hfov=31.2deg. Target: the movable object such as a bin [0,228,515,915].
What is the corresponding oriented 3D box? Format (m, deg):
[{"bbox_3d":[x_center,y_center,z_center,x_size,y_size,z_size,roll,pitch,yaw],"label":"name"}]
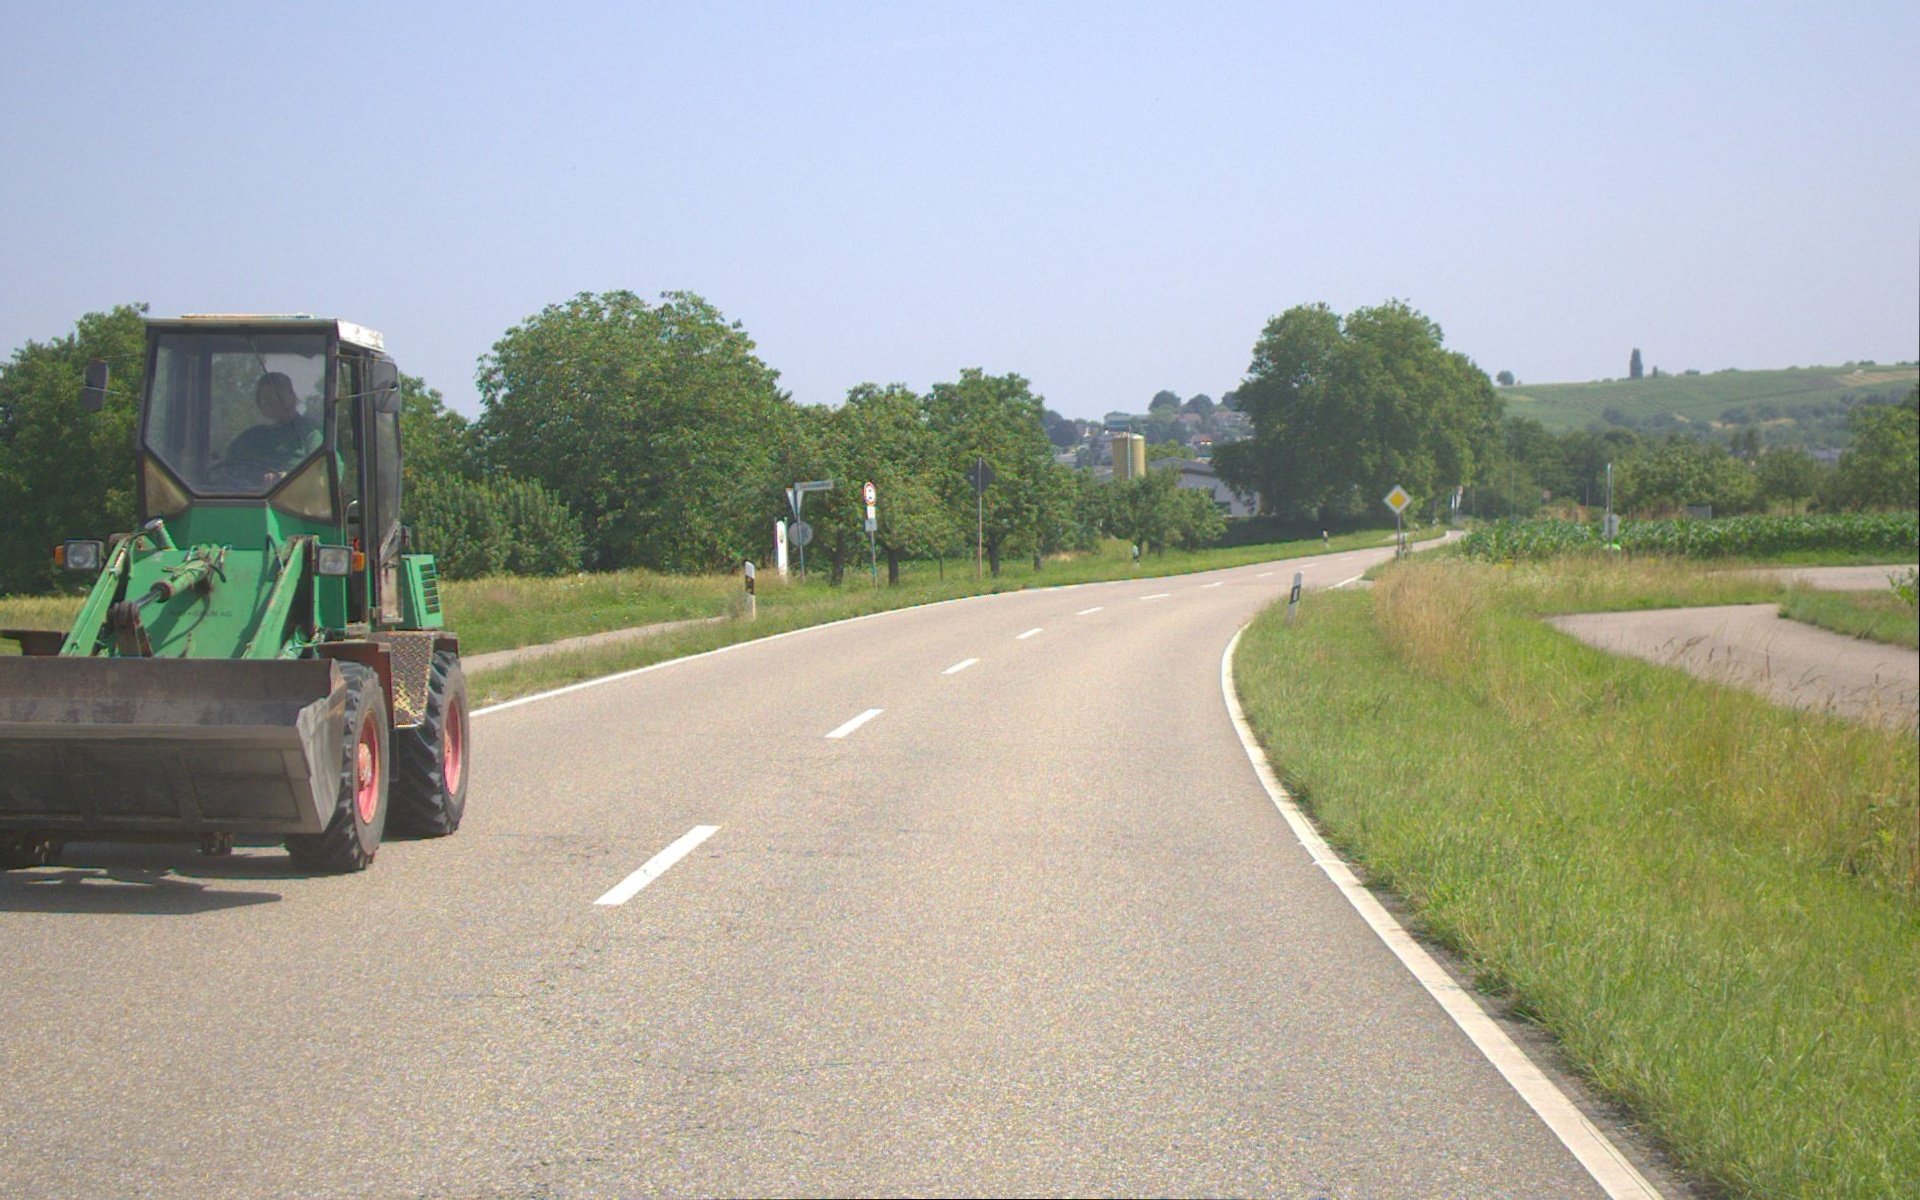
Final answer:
[{"bbox_3d":[-3.574,-0.169,16.460,2.001,2.745,5.230,1,1,2],"label":"movable object such as a bin"}]
